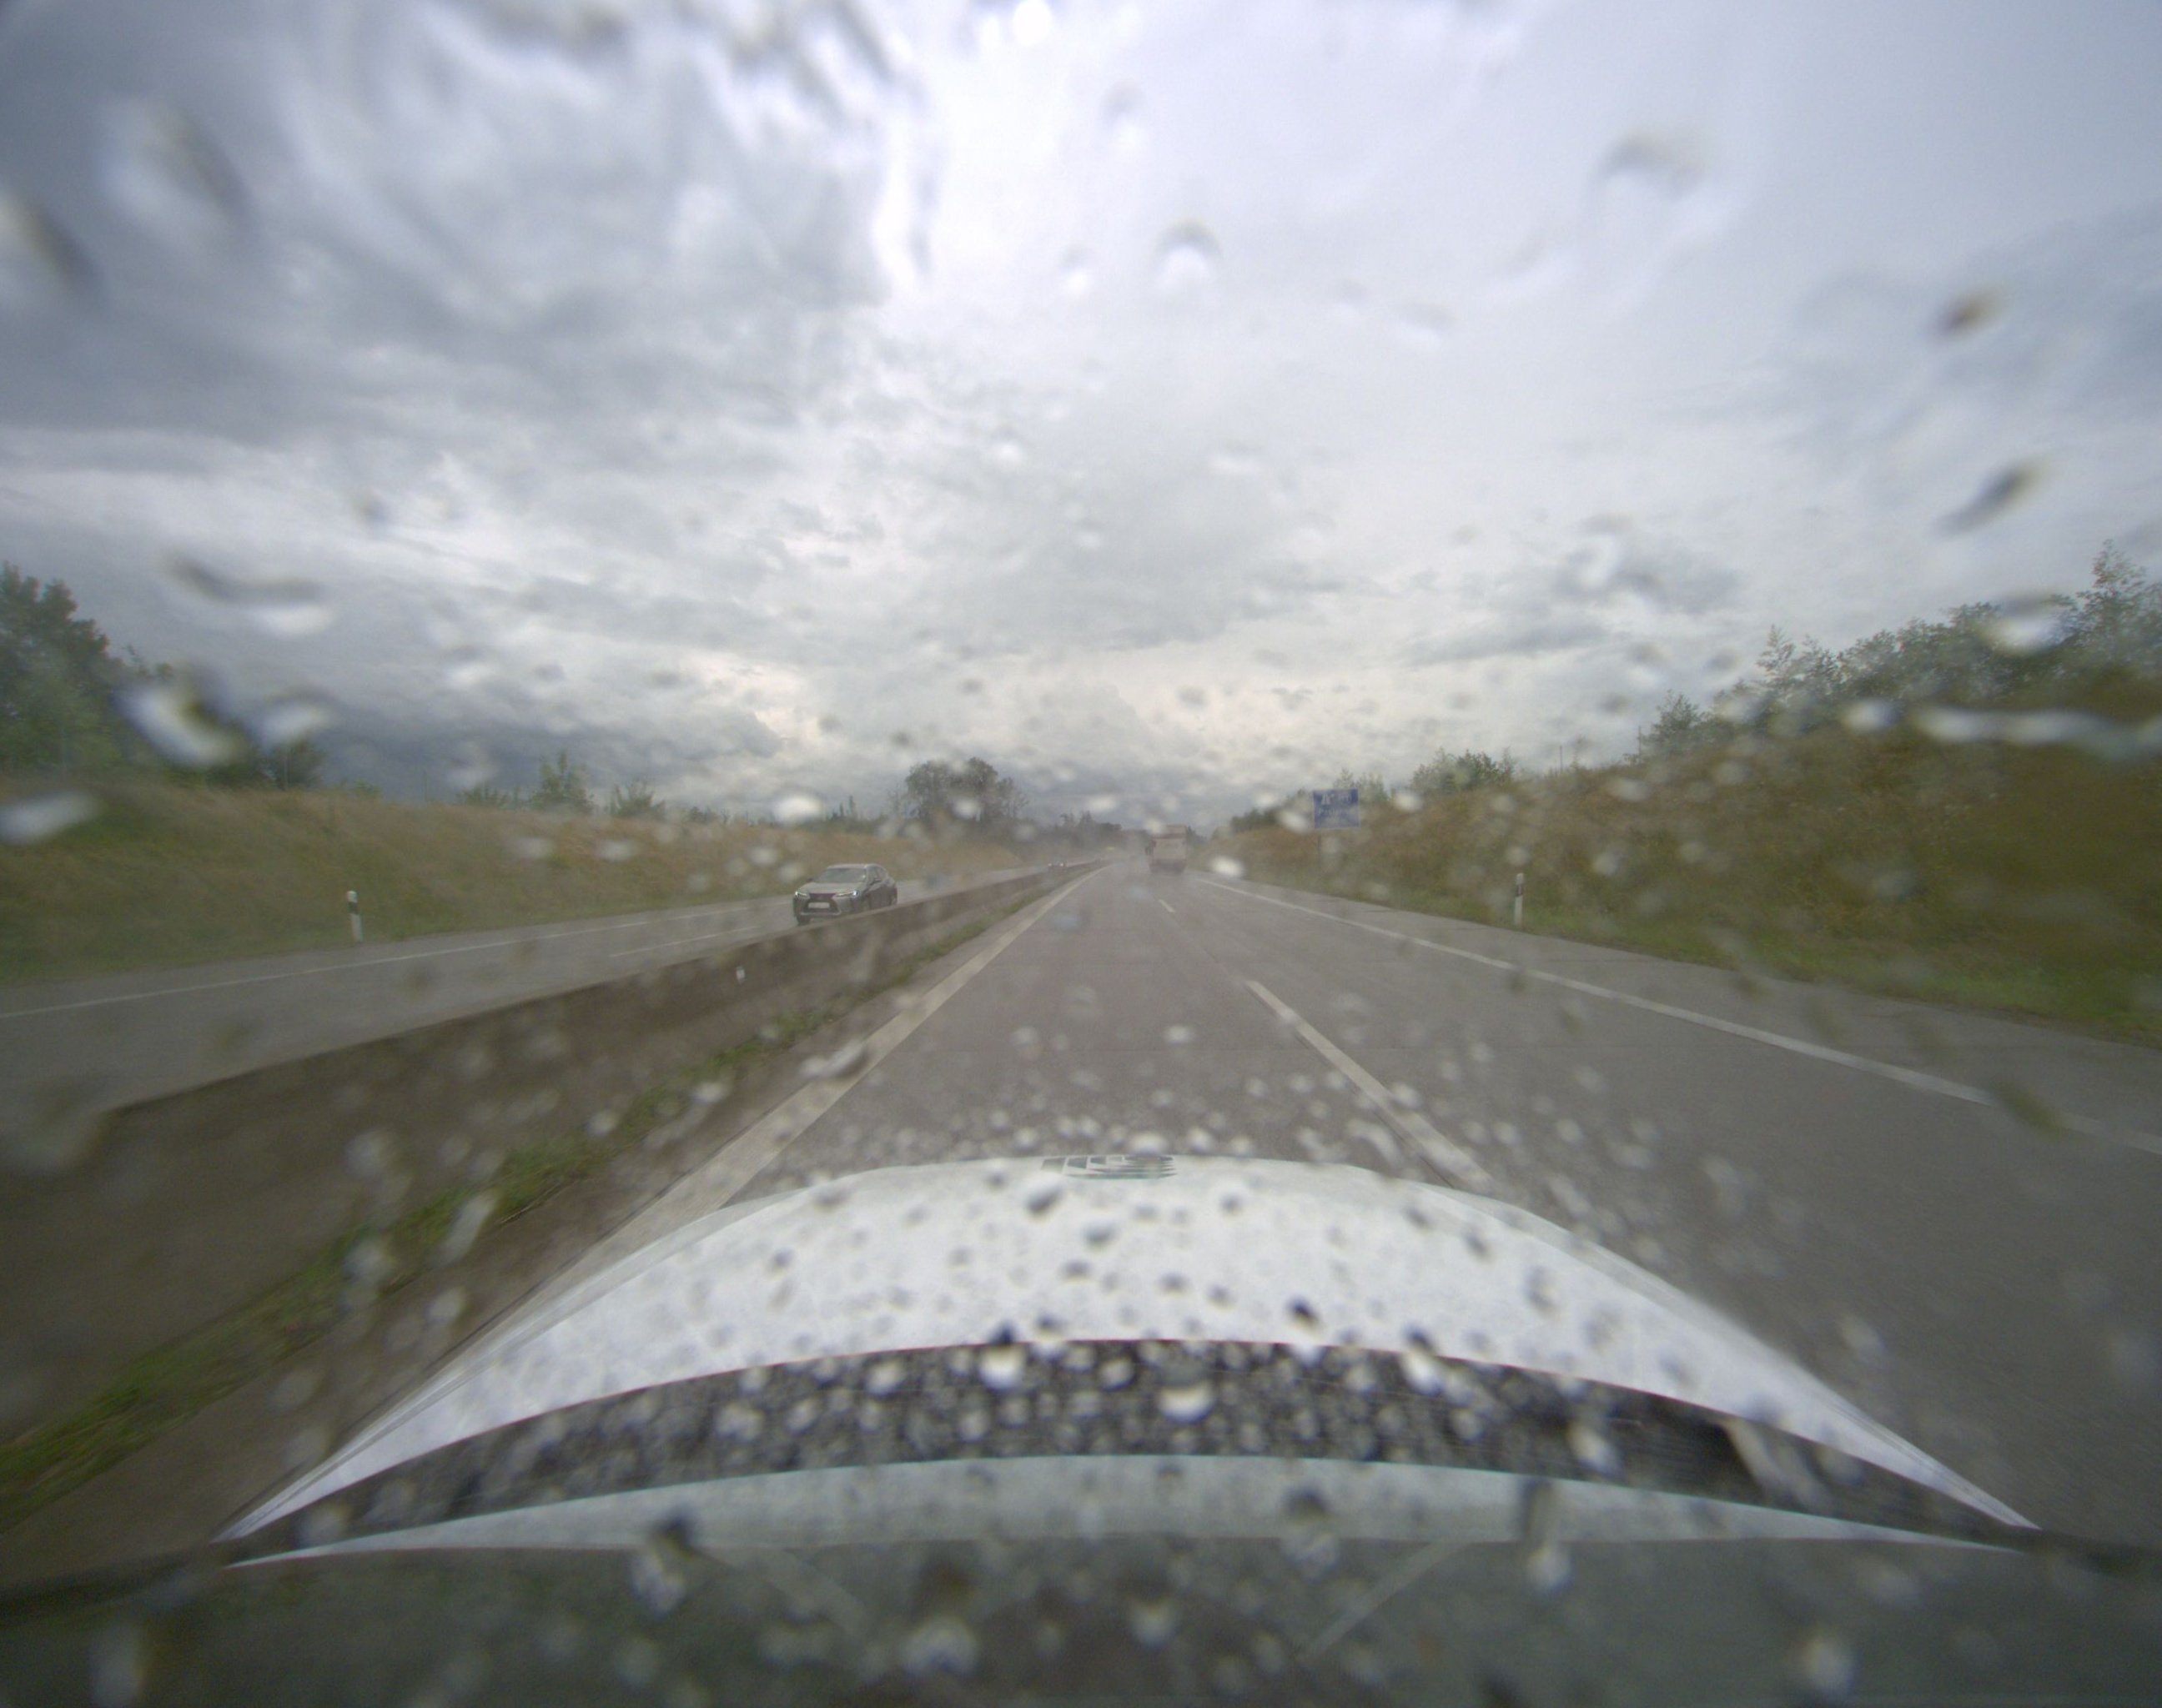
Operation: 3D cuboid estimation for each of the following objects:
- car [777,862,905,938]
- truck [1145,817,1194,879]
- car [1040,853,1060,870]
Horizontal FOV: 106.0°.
[{"bbox_3d":[-6.292,1.146,21.944,1.986,1.518,4.192,-3,2,2],"label":"car"},{"bbox_3d":[6.753,-0.509,63.479,3.230,4.436,8.252,-1,1,3],"label":"truck"},{"bbox_3d":[-3.164,0.754,83.436,1.617,1.428,4.003,-3,1,3],"label":"car"}]
